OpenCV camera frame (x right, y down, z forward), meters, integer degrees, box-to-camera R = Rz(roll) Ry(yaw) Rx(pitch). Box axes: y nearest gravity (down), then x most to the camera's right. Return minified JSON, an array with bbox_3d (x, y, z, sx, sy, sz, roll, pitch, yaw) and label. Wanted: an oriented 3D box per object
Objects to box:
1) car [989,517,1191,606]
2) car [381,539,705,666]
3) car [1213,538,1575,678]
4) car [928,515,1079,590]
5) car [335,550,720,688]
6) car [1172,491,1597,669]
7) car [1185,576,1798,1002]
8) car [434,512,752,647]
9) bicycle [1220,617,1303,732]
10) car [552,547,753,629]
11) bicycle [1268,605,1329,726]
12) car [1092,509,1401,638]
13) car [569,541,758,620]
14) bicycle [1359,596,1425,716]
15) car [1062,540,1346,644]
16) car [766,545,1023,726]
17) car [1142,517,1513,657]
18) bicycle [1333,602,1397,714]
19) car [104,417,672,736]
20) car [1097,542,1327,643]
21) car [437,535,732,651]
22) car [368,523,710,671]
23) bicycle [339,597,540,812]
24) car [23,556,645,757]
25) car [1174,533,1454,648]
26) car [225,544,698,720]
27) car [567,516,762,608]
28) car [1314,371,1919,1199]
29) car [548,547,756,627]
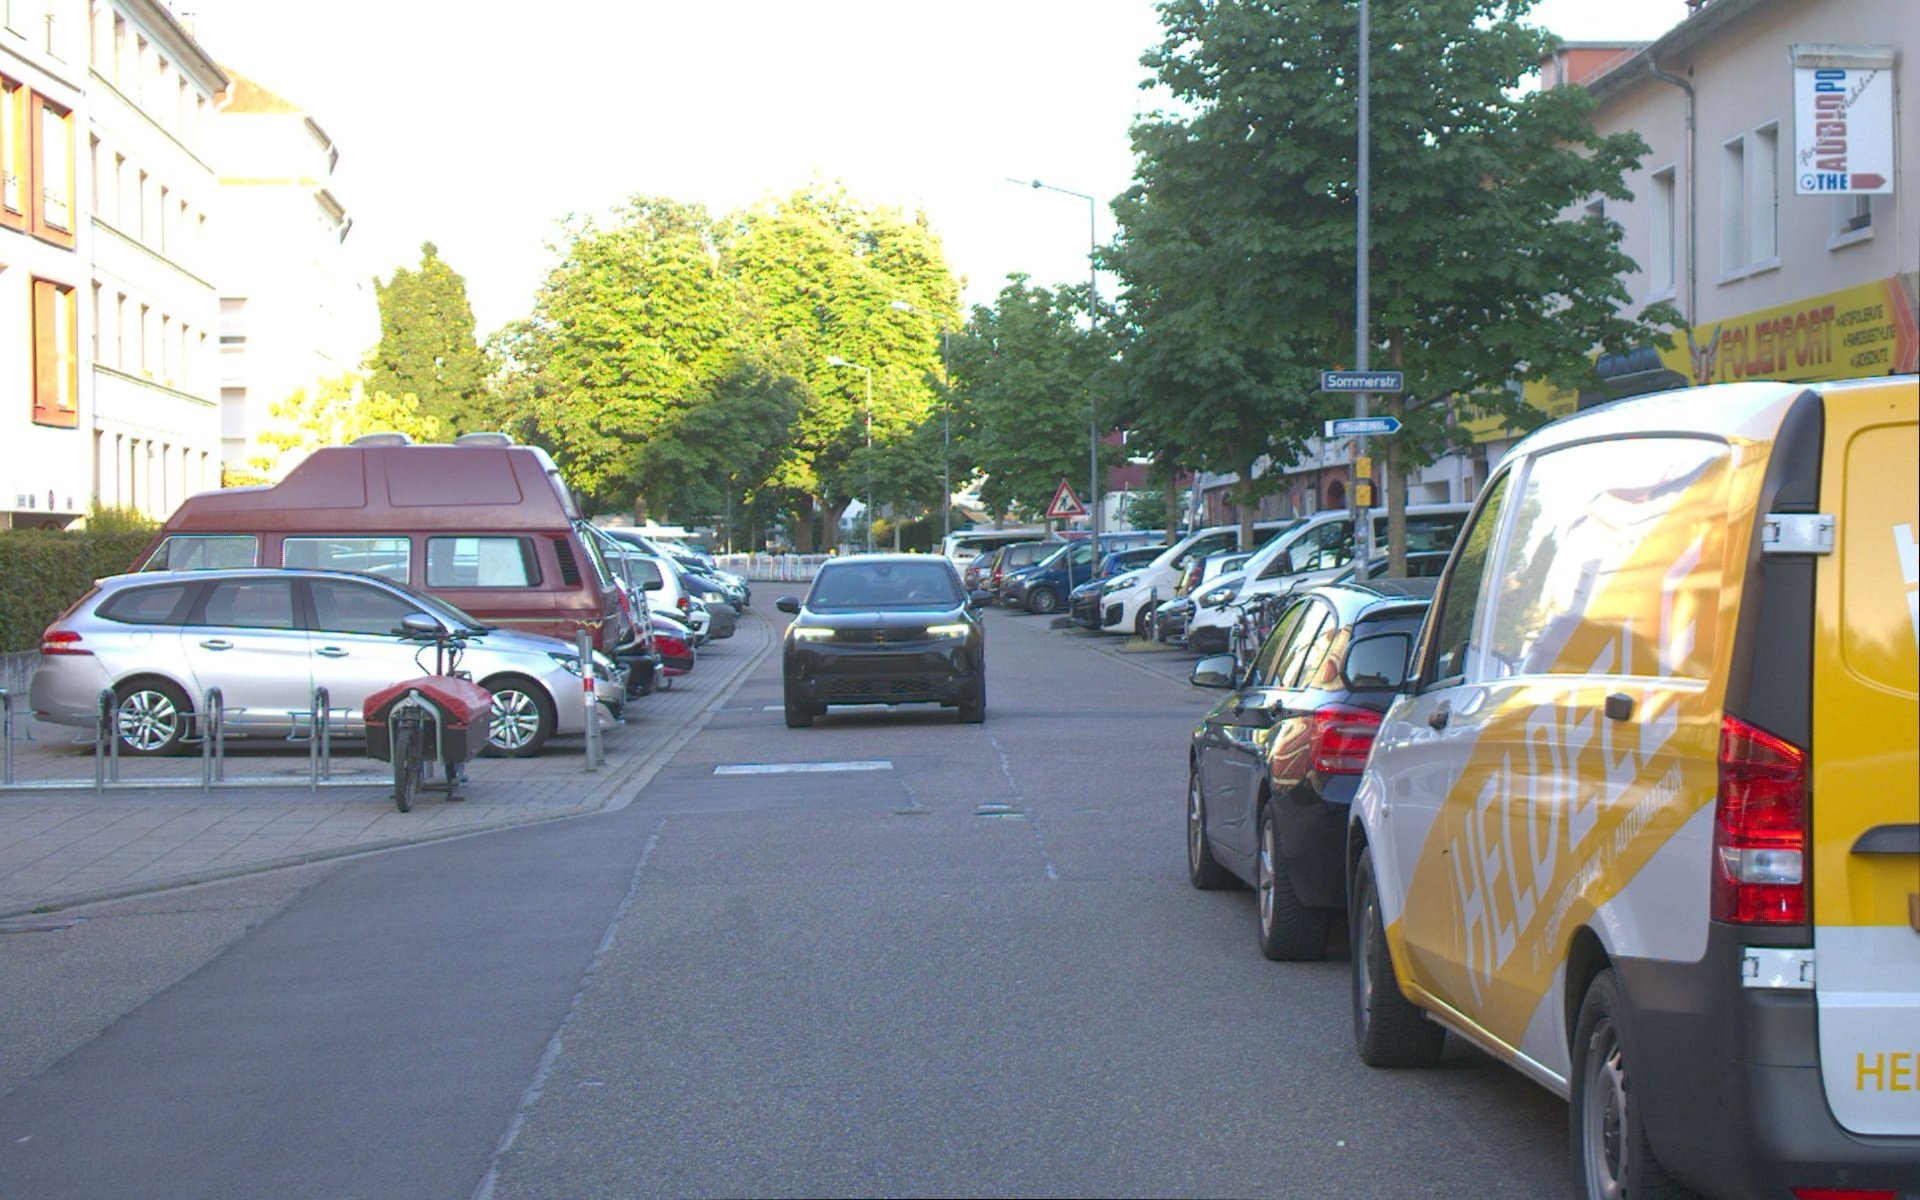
[{"bbox_3d":[3.043,-0.905,80.803,4.478,1.905,1.688,-2,1,-6],"label":"car"},{"bbox_3d":[-5.729,0.021,47.664,4.256,1.654,2.000,1,1,-1],"label":"car"},{"bbox_3d":[5.069,0.077,40.466,3.918,1.446,1.768,-3,1,-3],"label":"car"},{"bbox_3d":[1.204,-1.329,96.389,3.967,1.905,2.050,-2,1,-6],"label":"car"},{"bbox_3d":[-4.951,0.202,39.781,4.209,1.484,1.850,1,1,0],"label":"car"},{"bbox_3d":[5.273,-0.256,43.252,4.989,1.976,2.220,-2,1,0],"label":"car"},{"bbox_3d":[1.979,0.641,14.017,1.721,1.419,4.253,1,1,-1],"label":"car"},{"bbox_3d":[-5.778,-0.332,54.572,4.850,2.014,1.906,1,1,-1],"label":"car"},{"bbox_3d":[3.152,0.768,36.110,0.438,1.126,2.018,-2,1,-7],"label":"bicycle"},{"bbox_3d":[-6.738,-0.274,75.661,4.256,1.709,2.000,1,1,-1],"label":"car"},{"bbox_3d":[3.564,0.675,36.300,0.386,1.196,2.017,-2,1,-1],"label":"bicycle"},{"bbox_3d":[4.828,-0.459,58.412,4.943,1.951,2.049,-2,1,-3],"label":"car"},{"bbox_3d":[-6.899,-0.469,80.322,4.256,1.743,2.000,1,1,-1],"label":"car"},{"bbox_3d":[4.557,0.577,36.328,0.386,1.196,2.017,-2,1,-1],"label":"bicycle"},{"bbox_3d":[4.461,-0.165,63.355,4.943,1.683,2.077,-2,1,-3],"label":"car"},{"bbox_3d":[-0.530,0.275,31.453,1.780,1.512,3.999,-2,1,7],"label":"car"},{"bbox_3d":[5.140,-0.195,48.597,4.944,1.736,2.049,-2,1,0],"label":"car"},{"bbox_3d":[4.271,0.593,36.339,0.386,1.110,2.017,-2,1,-1],"label":"bicycle"},{"bbox_3d":[-4.845,-0.213,29.598,4.511,2.575,2.000,1,1,1],"label":"car"},{"bbox_3d":[4.975,-0.160,68.267,4.316,1.798,1.811,-2,1,-3],"label":"car"},{"bbox_3d":[-5.645,-0.115,52.020,4.256,1.646,1.888,1,1,-1],"label":"car"},{"bbox_3d":[-5.487,-0.050,45.193,4.256,1.830,2.000,1,1,-1],"label":"car"},{"bbox_3d":[-3.253,0.616,21.749,0.807,1.217,2.865,1,1,0],"label":"bicycle"},{"bbox_3d":[-4.821,0.420,27.028,4.615,1.455,1.881,1,1,-4],"label":"car"},{"bbox_3d":[5.236,-0.152,51.232,3.911,1.521,1.939,-2,1,0],"label":"car"},{"bbox_3d":[-4.601,0.279,32.176,4.208,1.533,1.791,1,1,-3],"label":"car"},{"bbox_3d":[-7.107,-0.917,83.061,4.533,2.127,2.000,1,1,-1],"label":"car"},{"bbox_3d":[2.153,0.516,8.421,1.893,1.877,5.082,0,1,-2],"label":"car"},{"bbox_3d":[-6.503,-0.289,72.922,4.256,1.616,2.000,1,1,-2],"label":"car"}]
